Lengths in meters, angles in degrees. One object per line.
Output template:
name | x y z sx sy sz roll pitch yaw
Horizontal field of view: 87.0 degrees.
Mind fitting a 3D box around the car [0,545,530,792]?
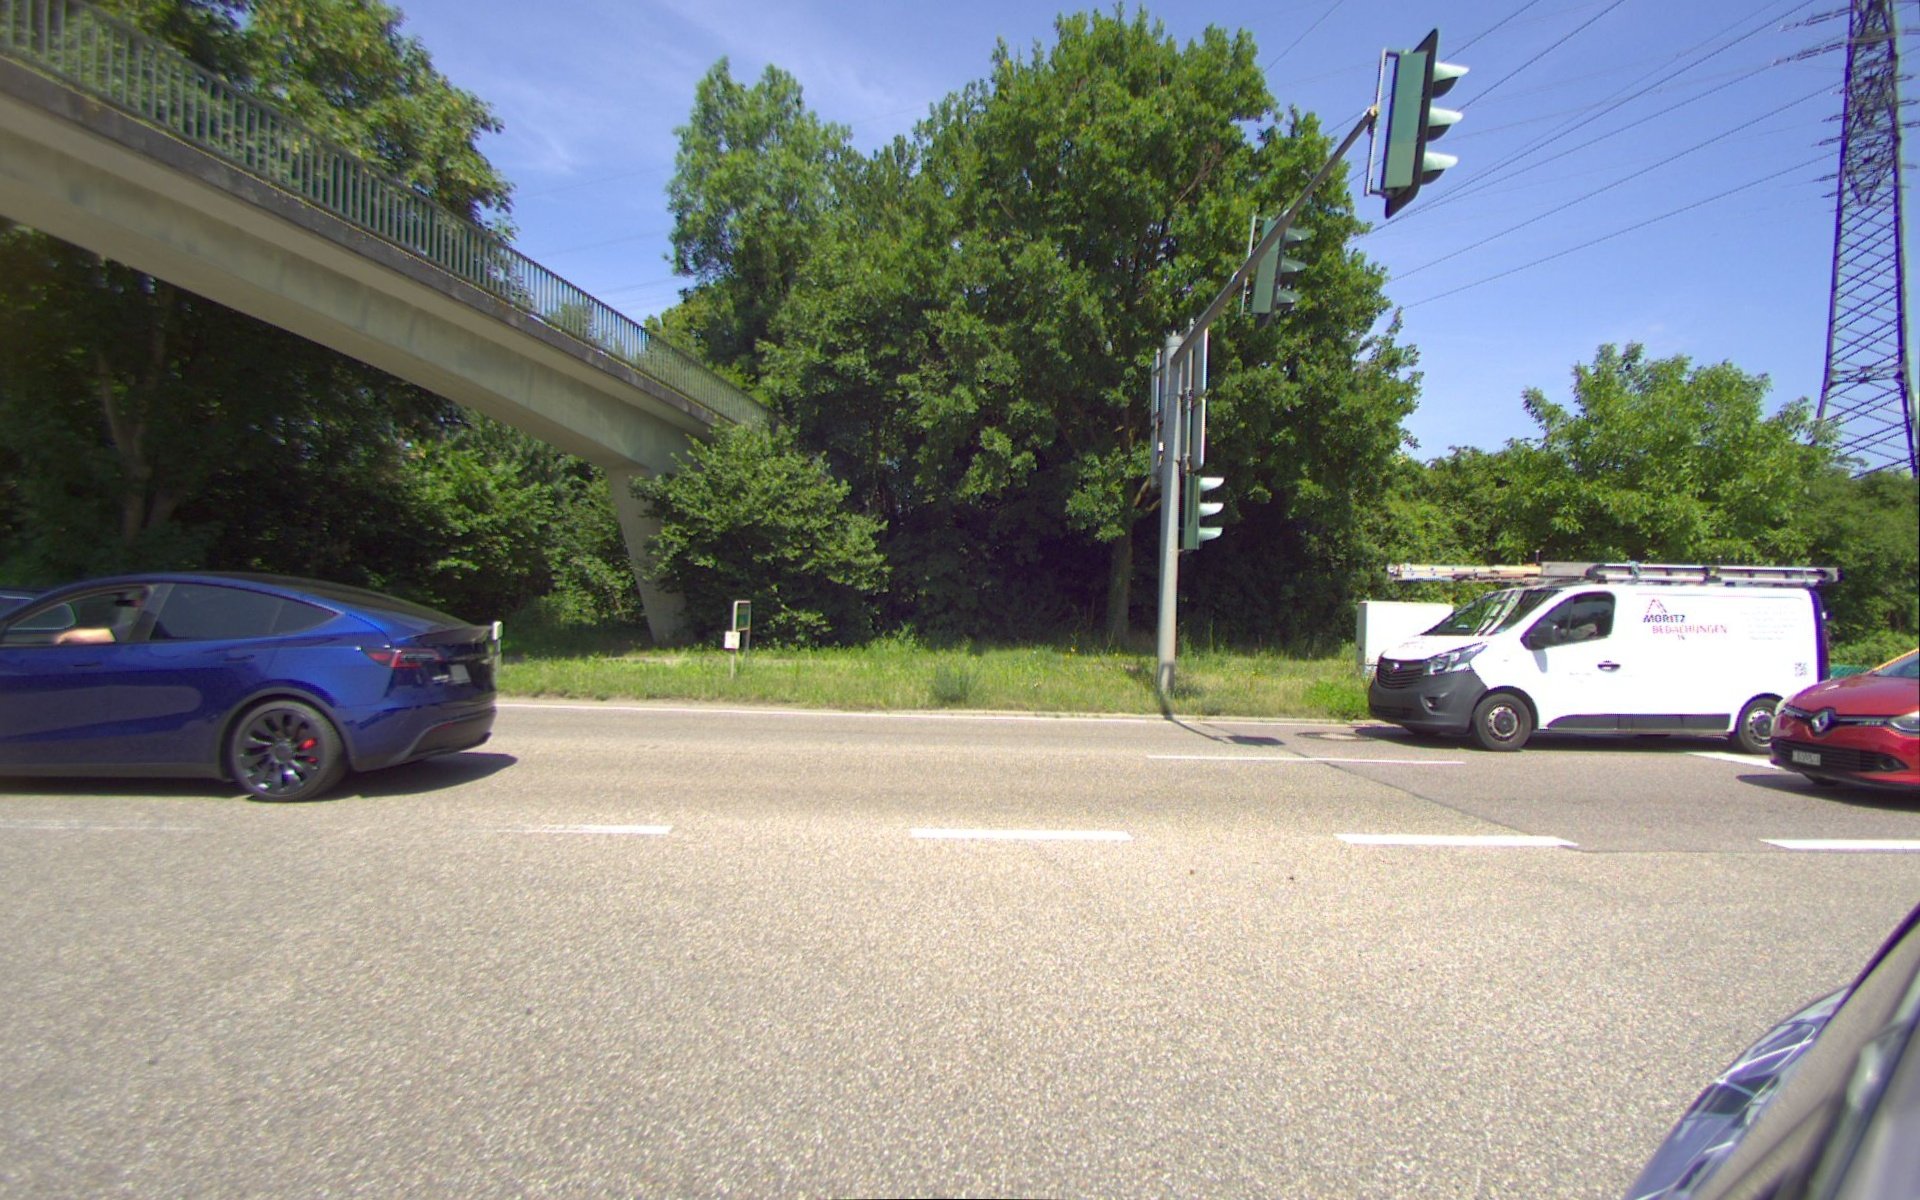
car | -5.975 0.484 7.881 4.431 1.665 1.907 1 -1 -3

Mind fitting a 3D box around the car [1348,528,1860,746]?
car | 7.563 0.434 12.238 4.976 2.379 1.939 1 -1 -2

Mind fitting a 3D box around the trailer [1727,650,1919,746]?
trailer | 11.676 1.177 12.400 3.259 1.019 1.712 1 -1 -2

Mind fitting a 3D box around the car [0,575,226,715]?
car | -11.422 0.477 11.789 4.295 1.497 1.907 1 -1 -2

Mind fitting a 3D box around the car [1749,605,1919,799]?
car | 9.255 0.817 8.488 3.984 1.480 1.749 1 -1 -4
